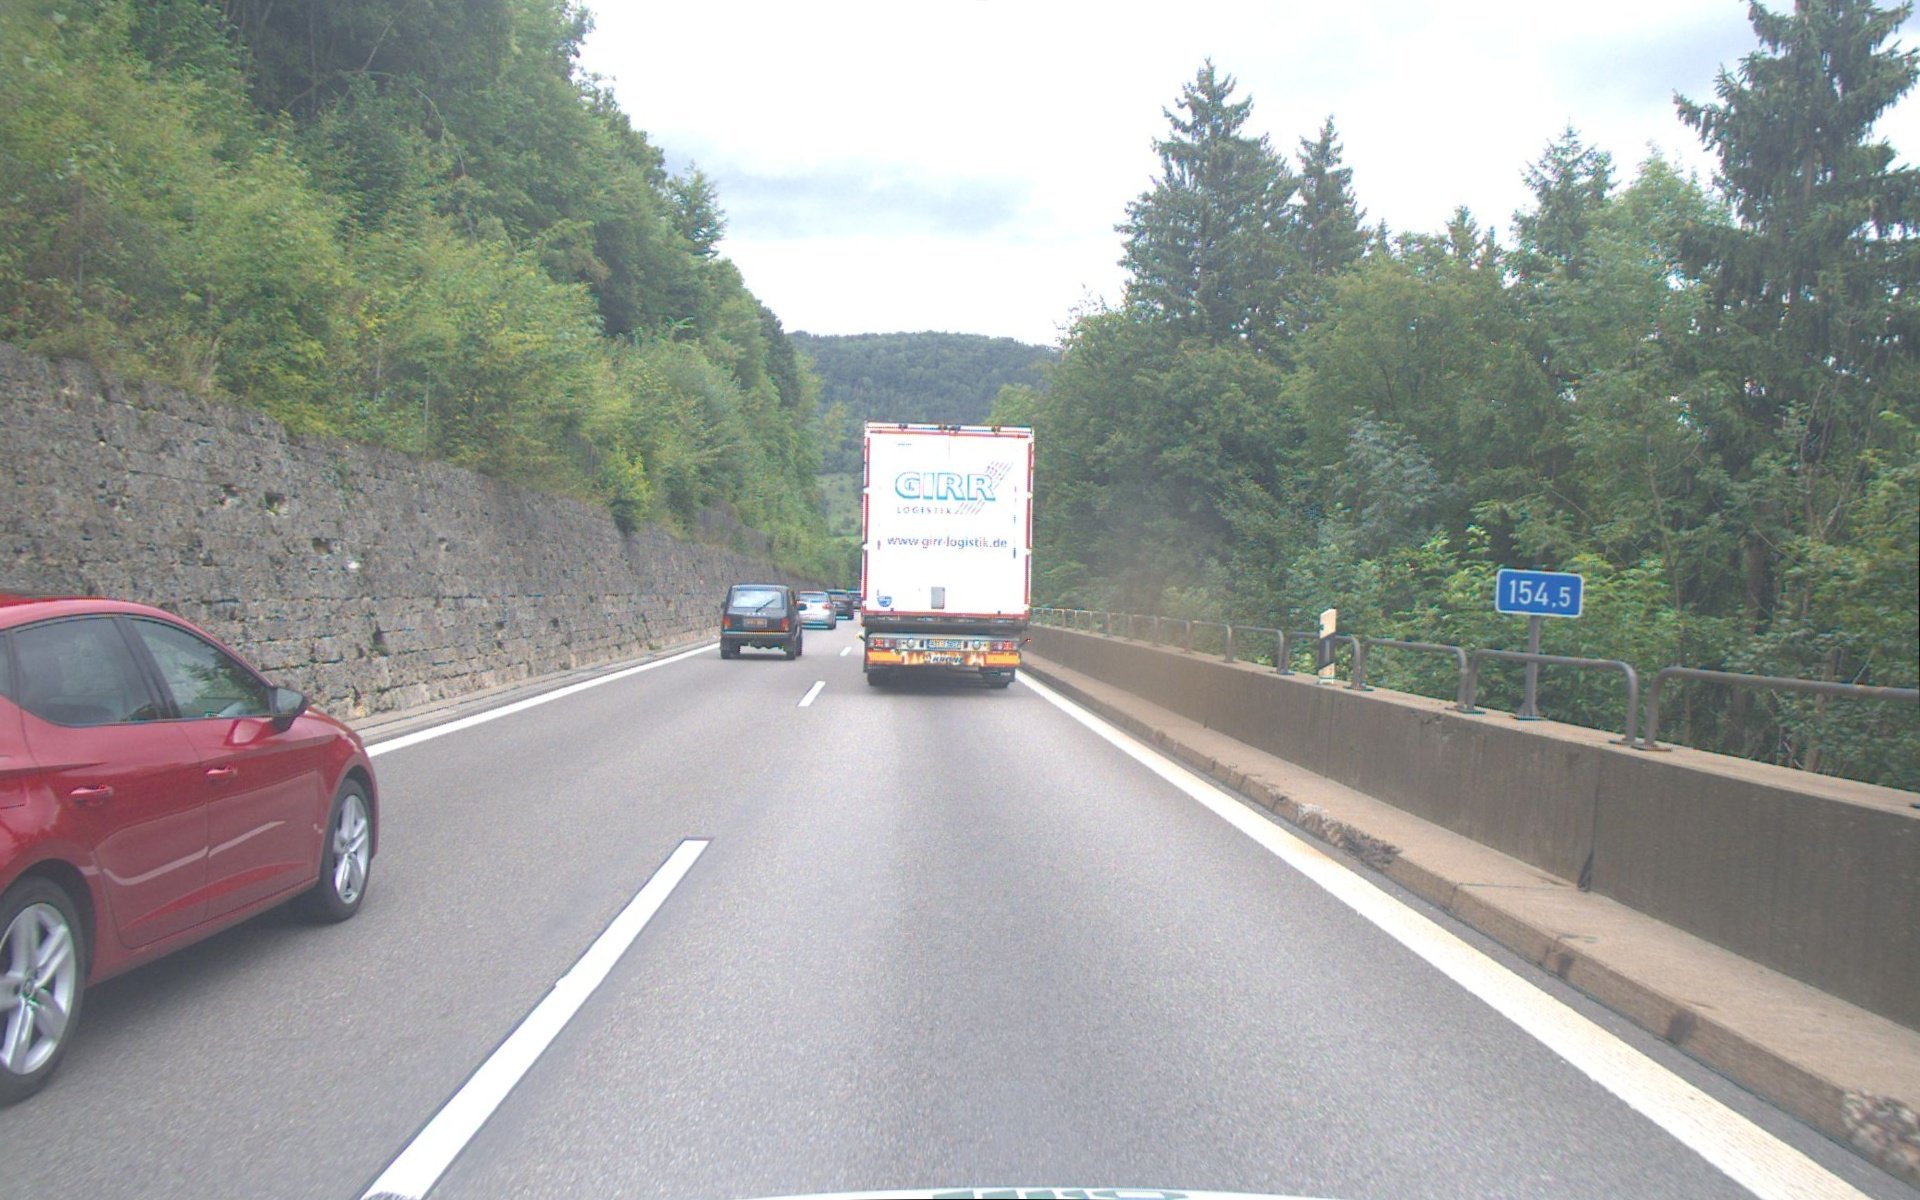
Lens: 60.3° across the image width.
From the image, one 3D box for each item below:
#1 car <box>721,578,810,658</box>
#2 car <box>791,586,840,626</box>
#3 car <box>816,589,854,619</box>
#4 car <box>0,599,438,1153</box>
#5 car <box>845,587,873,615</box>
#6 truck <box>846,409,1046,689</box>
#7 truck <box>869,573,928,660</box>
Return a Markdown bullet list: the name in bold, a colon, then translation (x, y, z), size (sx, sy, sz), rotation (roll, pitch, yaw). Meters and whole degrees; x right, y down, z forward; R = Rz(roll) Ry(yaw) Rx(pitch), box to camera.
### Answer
- **car**: translation (-4.354, 0.400, 37.447), size (1.635, 1.667, 4.066), rotation (1, 0, -2)
- **car**: translation (-5.741, 0.258, 66.056), size (1.694, 1.512, 3.998), rotation (1, 0, -2)
- **car**: translation (-6.850, 0.231, 90.941), size (1.878, 1.623, 4.177), rotation (1, 0, -2)
- **car**: translation (-3.450, 0.744, 5.956), size (1.730, 1.485, 4.410), rotation (1, 0, 0)
- **car**: translation (-7.920, 0.108, 130.467), size (1.953, 2.049, 3.999), rotation (2, -1, -1)
- **truck**: translation (-0.320, -0.726, 28.765), size (2.850, 4.030, 9.275), rotation (1, 0, -2)
- **truck**: translation (-2.816, 0.728, 74.609), size (2.436, 3.634, 9.303), rotation (1, 0, -3)
